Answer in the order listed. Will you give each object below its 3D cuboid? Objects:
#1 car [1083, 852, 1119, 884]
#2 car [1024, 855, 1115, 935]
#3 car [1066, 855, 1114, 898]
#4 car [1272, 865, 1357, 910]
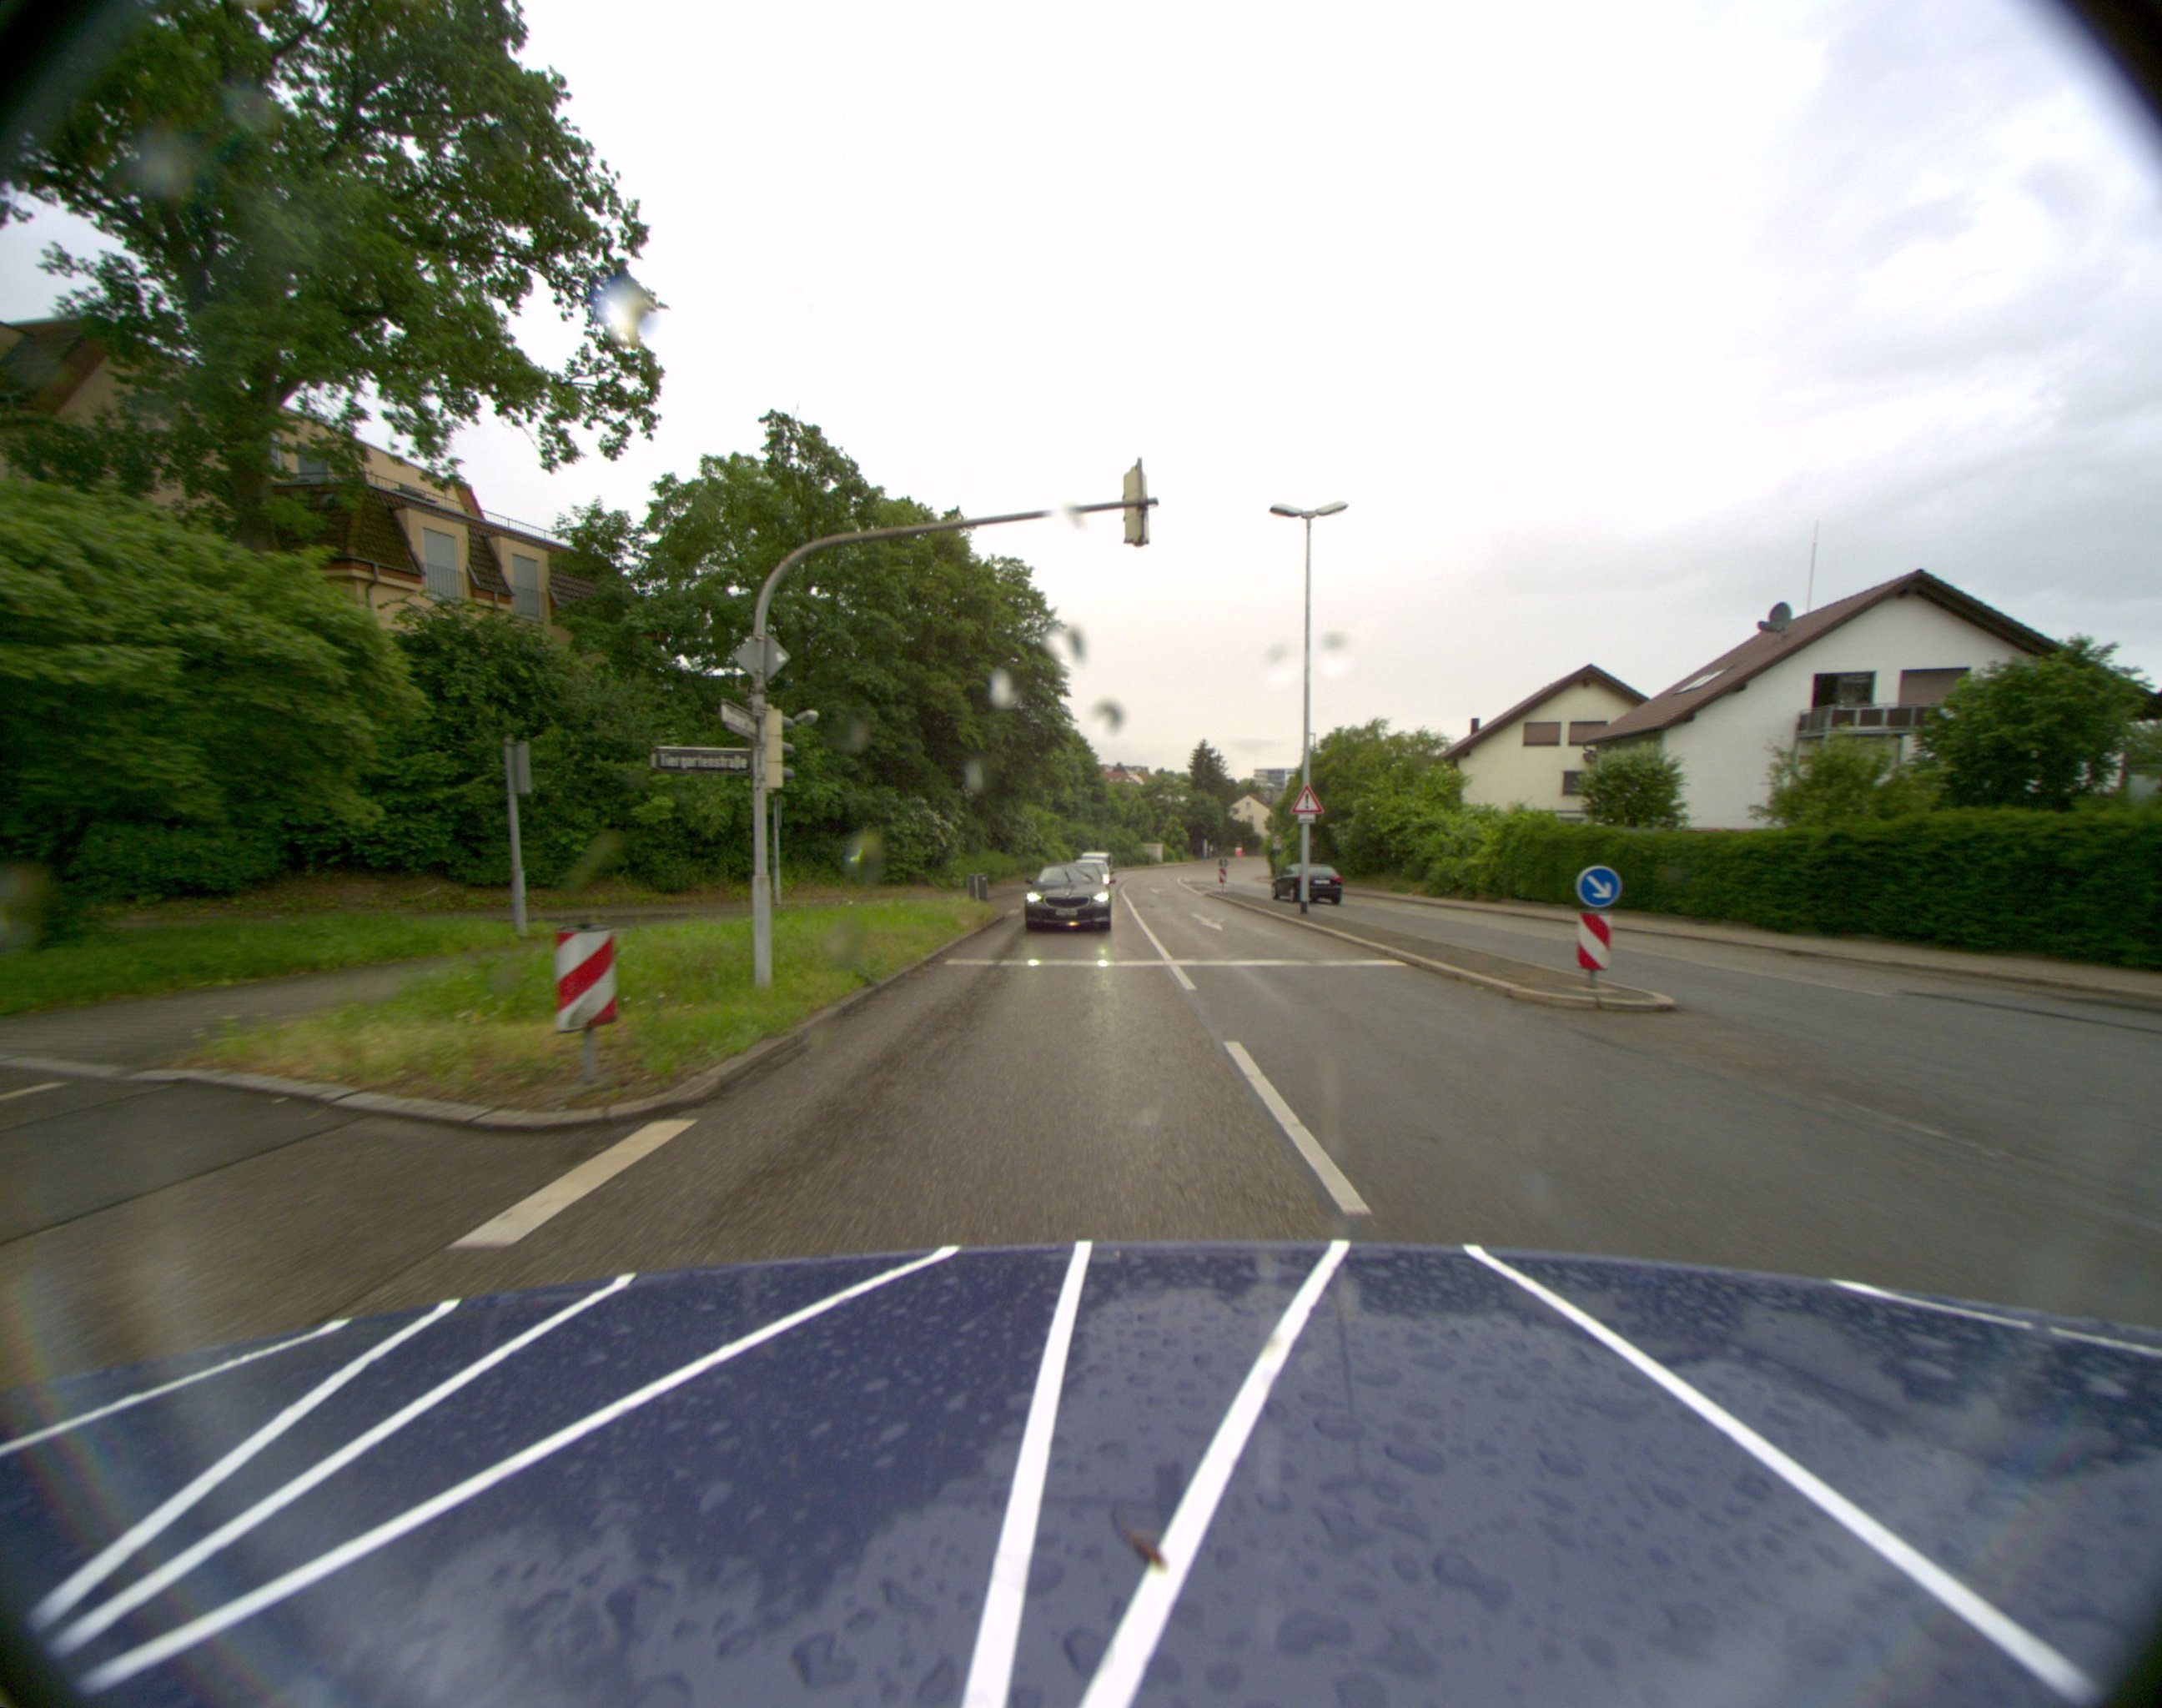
[{"bbox_3d":[1.237,0.786,45.213,1.813,1.797,4.121,1,1,6],"label":"car"},{"bbox_3d":[-0.165,0.852,17.936,1.867,1.547,4.119,1,1,2],"label":"car"},{"bbox_3d":[0.416,0.858,31.043,1.814,1.546,4.120,1,1,2],"label":"car"},{"bbox_3d":[8.498,1.179,28.024,1.867,1.484,3.833,1,0,-1],"label":"car"}]
